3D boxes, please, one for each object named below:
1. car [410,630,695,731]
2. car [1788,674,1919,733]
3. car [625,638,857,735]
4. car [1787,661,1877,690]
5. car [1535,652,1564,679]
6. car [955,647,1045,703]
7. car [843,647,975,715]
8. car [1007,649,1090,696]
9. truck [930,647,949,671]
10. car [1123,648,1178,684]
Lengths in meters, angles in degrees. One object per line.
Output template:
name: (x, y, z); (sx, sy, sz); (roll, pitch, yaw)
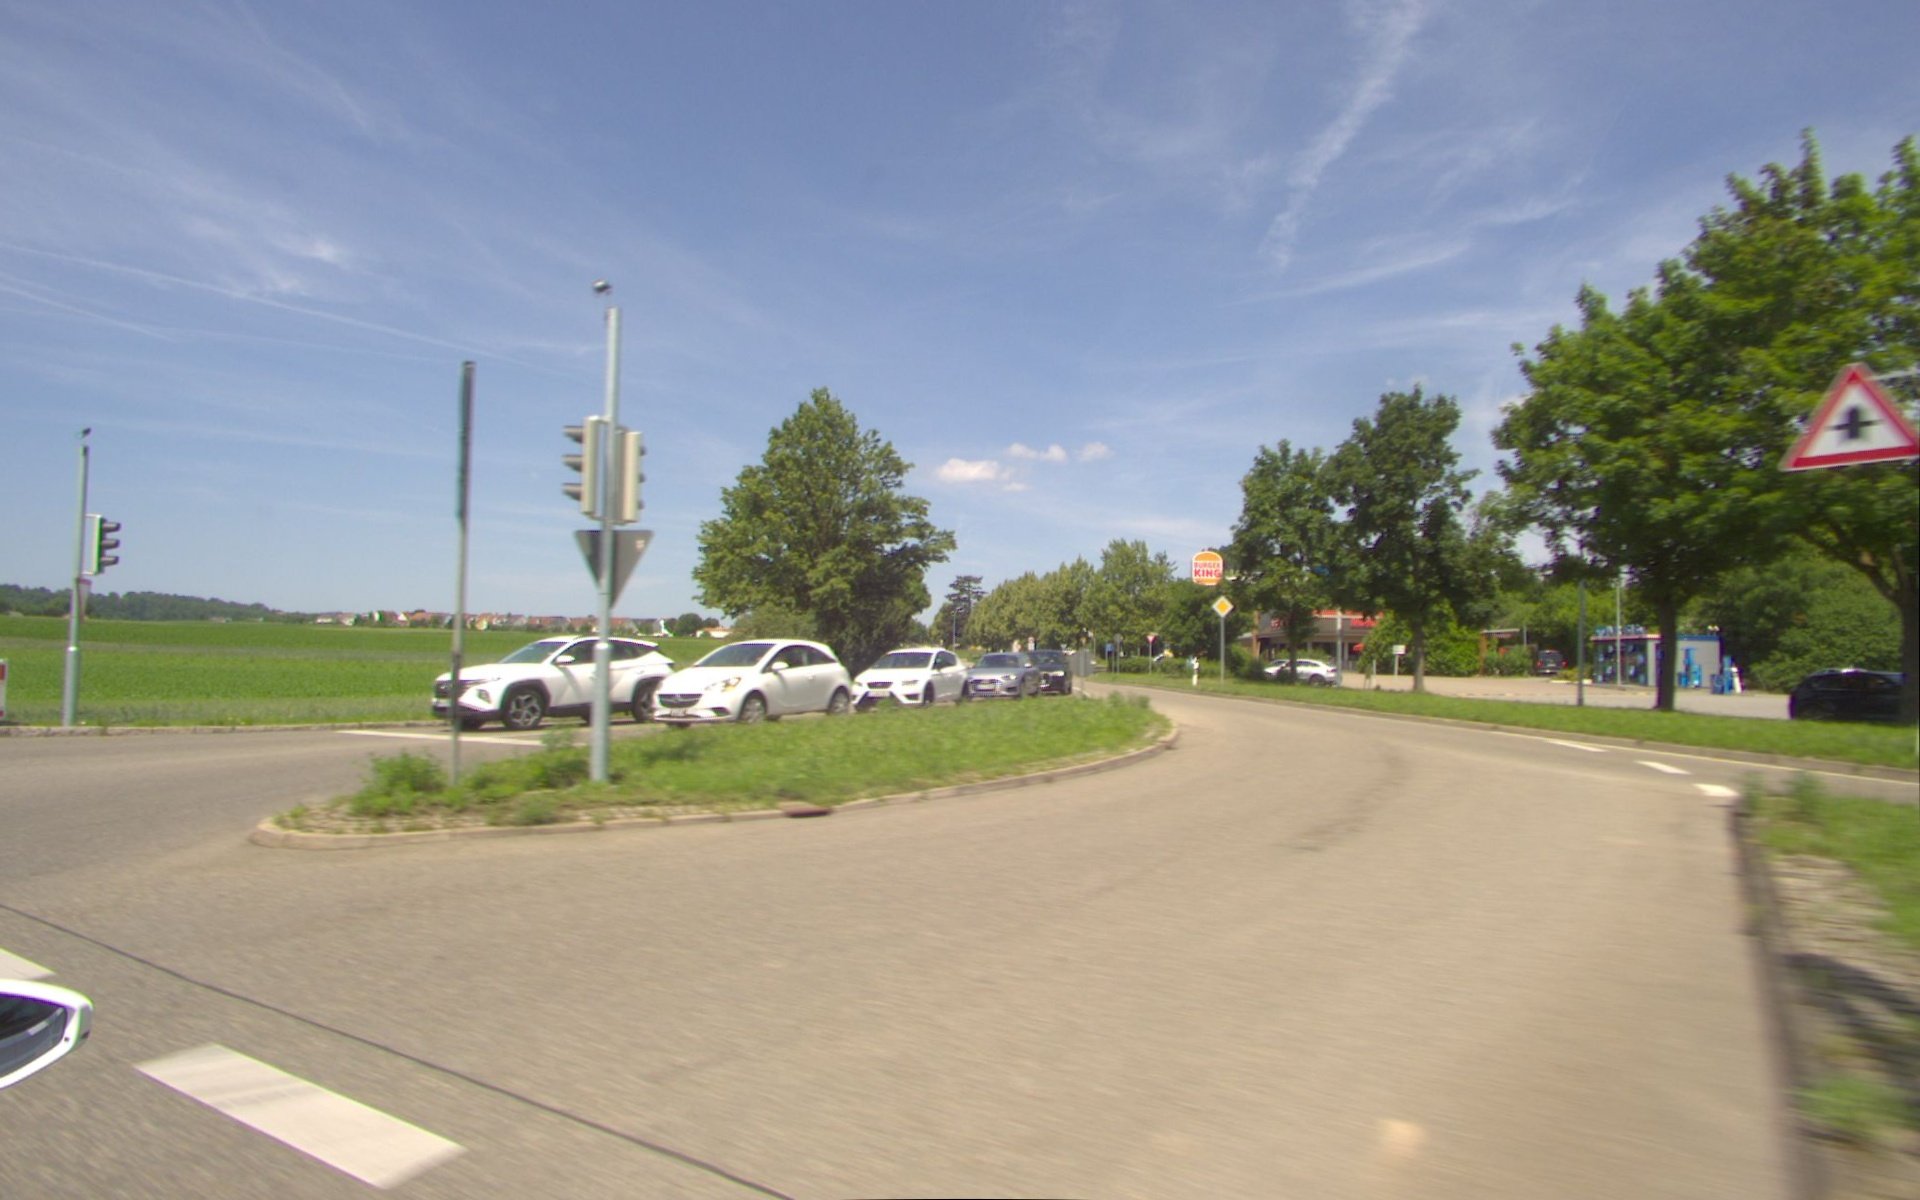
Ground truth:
car: (-7.334, 1.461, 18.547); (1.970, 1.626, 4.621); (-2, -4, 32)
car: (24.136, 2.616, 25.590); (1.729, 1.379, 4.316); (1, -3, -17)
car: (-3.556, 1.407, 16.981); (1.799, 1.436, 3.962); (-2, -4, 26)
car: (45.718, 3.952, 52.599); (1.694, 1.397, 3.844); (0, -3, 7)
car: (43.625, 4.799, 74.079); (1.812, 1.861, 3.982); (-1, -2, 31)
car: (1.292, 2.232, 29.892); (1.768, 1.528, 4.562); (-1, -4, 14)
car: (-1.096, 1.831, 23.524); (1.769, 1.436, 4.102); (-1, -3, 18)
car: (3.232, 2.605, 35.653); (1.770, 1.528, 4.557); (-2, -5, 21)
truck: (-2.383, 6.813, 115.529); (1.961, 2.630, 4.003); (0, -3, -5)
car: (9.596, 3.294, 50.804); (1.830, 1.713, 4.530); (0, -3, -1)
